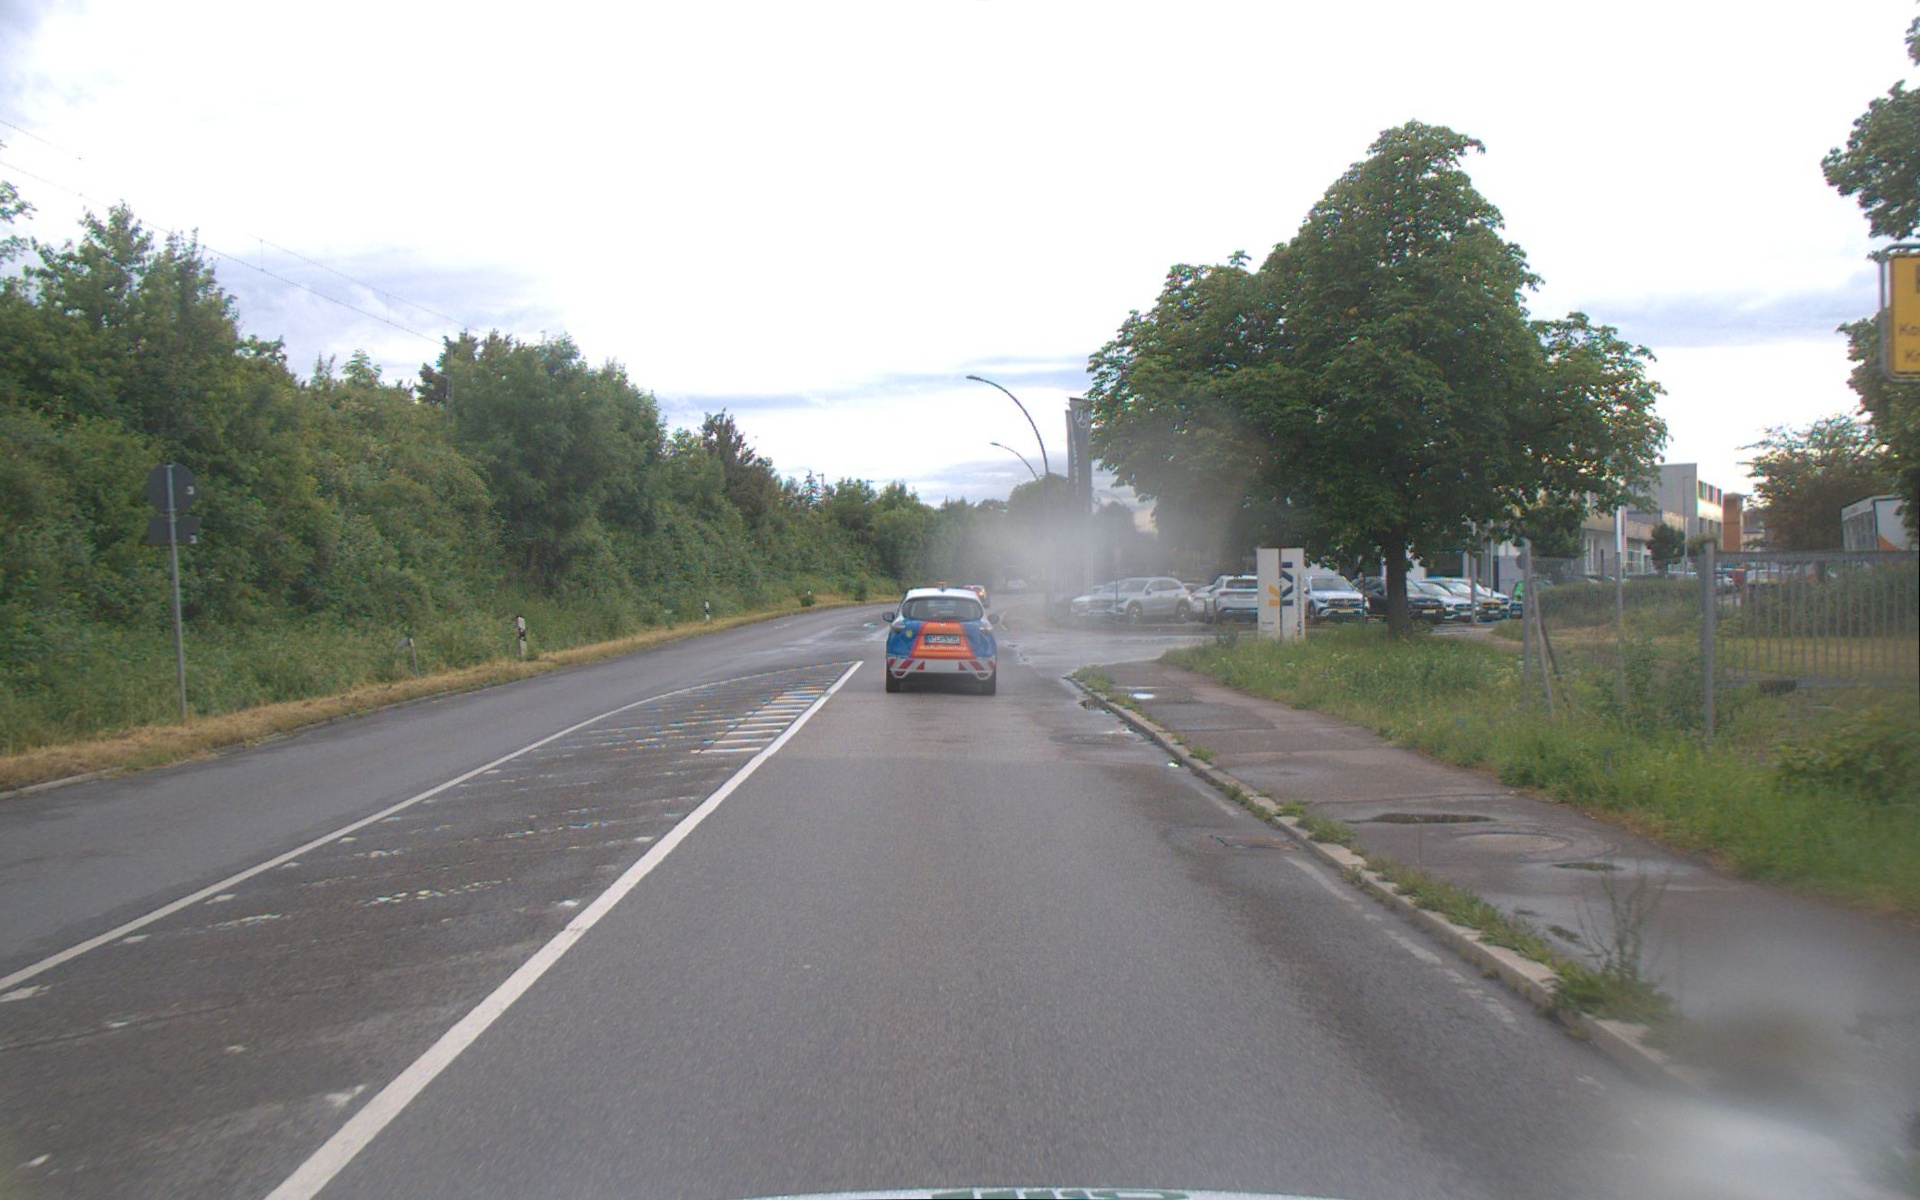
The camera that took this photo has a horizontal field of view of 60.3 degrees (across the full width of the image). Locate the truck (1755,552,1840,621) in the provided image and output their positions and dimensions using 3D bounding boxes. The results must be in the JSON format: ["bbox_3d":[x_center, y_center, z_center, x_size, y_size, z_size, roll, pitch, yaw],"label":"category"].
[{"bbox_3d":[39.711,-0.576,78.288,2.439,3.047,6.893,1,-1,36],"label":"truck"}]

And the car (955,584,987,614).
[{"bbox_3d":[0.743,-0.060,105.684,1.658,1.822,3.858,1,0,6],"label":"car"}]

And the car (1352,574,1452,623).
[{"bbox_3d":[15.511,-0.049,58.238,1.620,1.630,4.608,2,0,-10],"label":"car"}]

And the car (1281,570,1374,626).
[{"bbox_3d":[12.416,-0.055,56.140,1.897,1.782,4.616,2,0,-3],"label":"car"}]

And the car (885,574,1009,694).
[{"bbox_3d":[-0.223,0.505,26.093,1.769,1.697,3.855,2,0,-1],"label":"car"}]

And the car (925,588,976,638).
[{"bbox_3d":[-0.334,0.428,57.197,1.659,1.623,3.855,2,0,0],"label":"car"}]

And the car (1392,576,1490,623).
[{"bbox_3d":[17.670,-0.028,60.966,1.620,1.630,4.608,2,0,-10],"label":"car"}]

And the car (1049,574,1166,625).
[{"bbox_3d":[5.588,0.025,62.382,2.001,1.782,4.586,-1,-2,44],"label":"car"}]

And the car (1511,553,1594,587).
[{"bbox_3d":[28.277,-1.439,78.946,3.582,1.522,1.654,1,0,25],"label":"car"}]

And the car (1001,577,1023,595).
[{"bbox_3d":[5.475,-1.443,172.875,1.658,1.822,3.859,1,0,12],"label":"car"}]

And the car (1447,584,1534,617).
[{"bbox_3d":[24.599,0.030,76.688,3.584,1.400,1.653,1,0,28],"label":"car"}]

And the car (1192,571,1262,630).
[{"bbox_3d":[9.006,0.025,56.063,1.788,1.861,4.264,2,0,2],"label":"car"}]

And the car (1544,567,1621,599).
[{"bbox_3d":[31.971,-0.882,84.974,3.582,1.522,1.654,1,0,25],"label":"car"}]

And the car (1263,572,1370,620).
[{"bbox_3d":[13.762,-0.143,63.696,1.899,1.781,4.586,1,1,44],"label":"car"}]

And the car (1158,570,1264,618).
[{"bbox_3d":[9.717,-0.250,63.796,1.897,1.781,4.592,1,1,41],"label":"car"}]

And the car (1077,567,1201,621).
[{"bbox_3d":[6.417,-0.194,59.041,2.001,1.782,4.586,1,-1,44],"label":"car"}]

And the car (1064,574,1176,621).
[{"bbox_3d":[6.498,-0.060,66.805,4.571,1.782,1.783,2,-2,-38],"label":"car"}]
